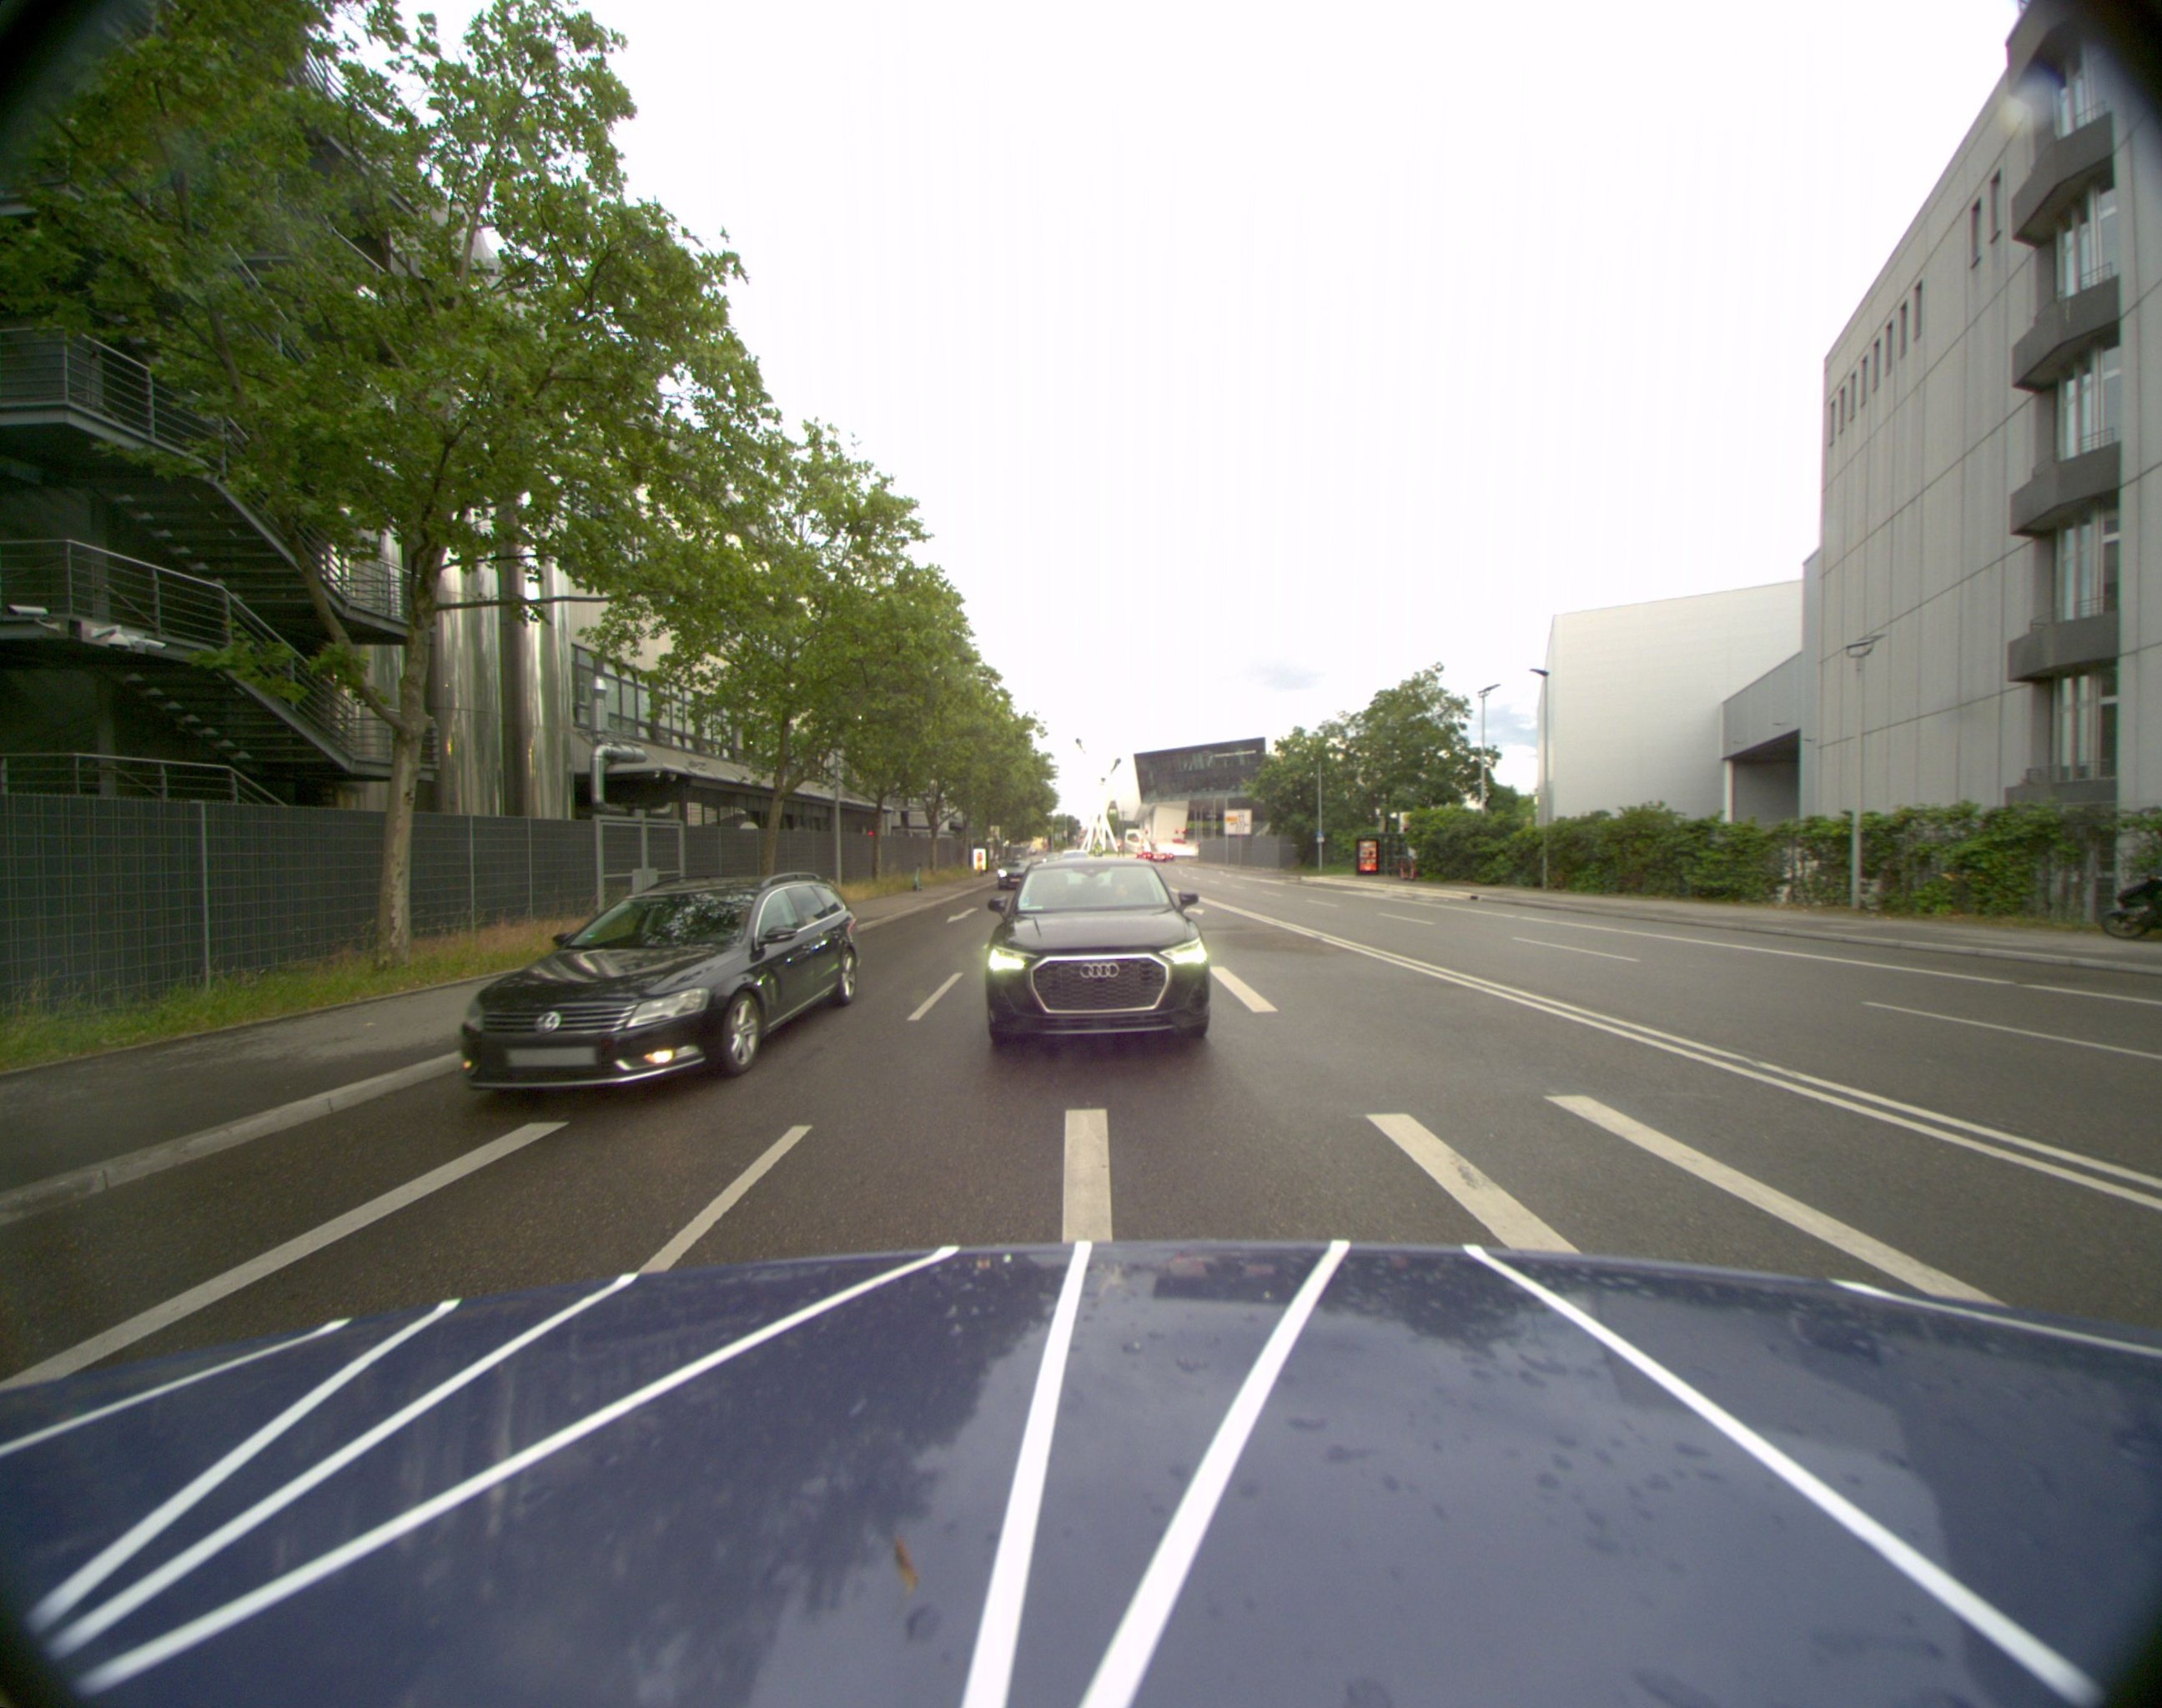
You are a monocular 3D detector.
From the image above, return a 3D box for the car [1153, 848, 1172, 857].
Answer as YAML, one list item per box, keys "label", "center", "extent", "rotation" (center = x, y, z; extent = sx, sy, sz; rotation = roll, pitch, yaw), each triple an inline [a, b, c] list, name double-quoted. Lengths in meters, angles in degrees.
- label: "car"
  center: [12.977, -0.234, 120.898]
  extent: [2.267, 1.469, 4.052]
  rotation: [0, 1, 18]

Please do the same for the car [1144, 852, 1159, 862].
- label: "car"
  center: [12.002, 0.483, 128.736]
  extent: [1.878, 1.641, 3.857]
  rotation: [0, 0, 16]

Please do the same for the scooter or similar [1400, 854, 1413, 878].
- label: "scooter or similar"
  center: [16.478, 0.594, 38.474]
  extent: [0.389, 1.173, 1.251]
  rotation: [0, 1, 13]

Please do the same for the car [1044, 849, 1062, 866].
- label: "car"
  center: [-3.065, 0.384, 84.580]
  extent: [1.951, 1.767, 4.490]
  rotation: [0, 0, -1]

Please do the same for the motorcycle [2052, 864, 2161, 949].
- label: "motorcycle"
  center: [16.688, 0.808, 11.666]
  extent: [0.786, 1.243, 2.157]
  rotation: [-1, 1, 0]

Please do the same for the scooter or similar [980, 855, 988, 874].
- label: "scooter or similar"
  center: [-7.004, 0.766, 54.845]
  extent: [0.329, 1.301, 1.246]
  rotation: [-1, 1, 4]

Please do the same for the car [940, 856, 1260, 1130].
- label: "car"
  center: [0.065, 0.880, 7.403]
  extent: [1.951, 1.609, 5.276]
  rotation: [-2, 0, -1]

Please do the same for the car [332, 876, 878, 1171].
- label: "car"
  center: [-3.325, 1.030, 6.700]
  extent: [1.842, 1.444, 4.785]
  rotation: [-2, 0, -1]

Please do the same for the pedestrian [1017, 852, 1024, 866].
- label: "pedestrian"
  center: [-6.992, 0.572, 88.412]
  extent: [0.723, 1.610, 0.833]
  rotation: [1, 2, -1]

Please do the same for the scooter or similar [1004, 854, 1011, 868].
- label: "scooter or similar"
  center: [-6.957, 0.691, 71.544]
  extent: [0.437, 1.288, 1.300]
  rotation: [-1, 1, 3]

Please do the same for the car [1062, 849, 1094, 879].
- label: "car"
  center: [-0.264, 0.608, 48.718]
  extent: [1.951, 1.879, 4.490]
  rotation: [0, 0, -1]

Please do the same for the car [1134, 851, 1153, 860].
- label: "car"
  center: [10.046, 0.216, 122.595]
  extent: [2.255, 1.469, 3.884]
  rotation: [0, 1, 18]

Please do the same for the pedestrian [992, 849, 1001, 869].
- label: "pedestrian"
  center: [-7.526, 0.426, 67.693]
  extent: [0.778, 1.700, 0.729]
  rotation: [-1, 1, -1]

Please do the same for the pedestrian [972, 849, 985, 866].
- label: "pedestrian"
  center: [-8.589, 0.311, 63.802]
  extent: [0.932, 1.408, 0.698]
  rotation: [-1, 1, -1]

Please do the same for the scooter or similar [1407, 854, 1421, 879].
- label: "scooter or similar"
  center: [16.246, 0.614, 37.067]
  extent: [0.379, 1.174, 1.379]
  rotation: [0, 1, 14]

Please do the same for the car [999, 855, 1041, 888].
- label: "car"
  center: [-3.080, 0.843, 39.001]
  extent: [1.951, 1.610, 4.072]
  rotation: [0, 0, -1]

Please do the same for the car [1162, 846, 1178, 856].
- label: "car"
  center: [14.896, -0.590, 127.482]
  extent: [1.862, 1.641, 3.792]
  rotation: [0, 0, 19]

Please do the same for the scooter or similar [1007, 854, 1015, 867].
- label: "scooter or similar"
  center: [-6.953, 0.661, 75.638]
  extent: [0.437, 1.288, 1.367]
  rotation: [-1, 1, 7]
